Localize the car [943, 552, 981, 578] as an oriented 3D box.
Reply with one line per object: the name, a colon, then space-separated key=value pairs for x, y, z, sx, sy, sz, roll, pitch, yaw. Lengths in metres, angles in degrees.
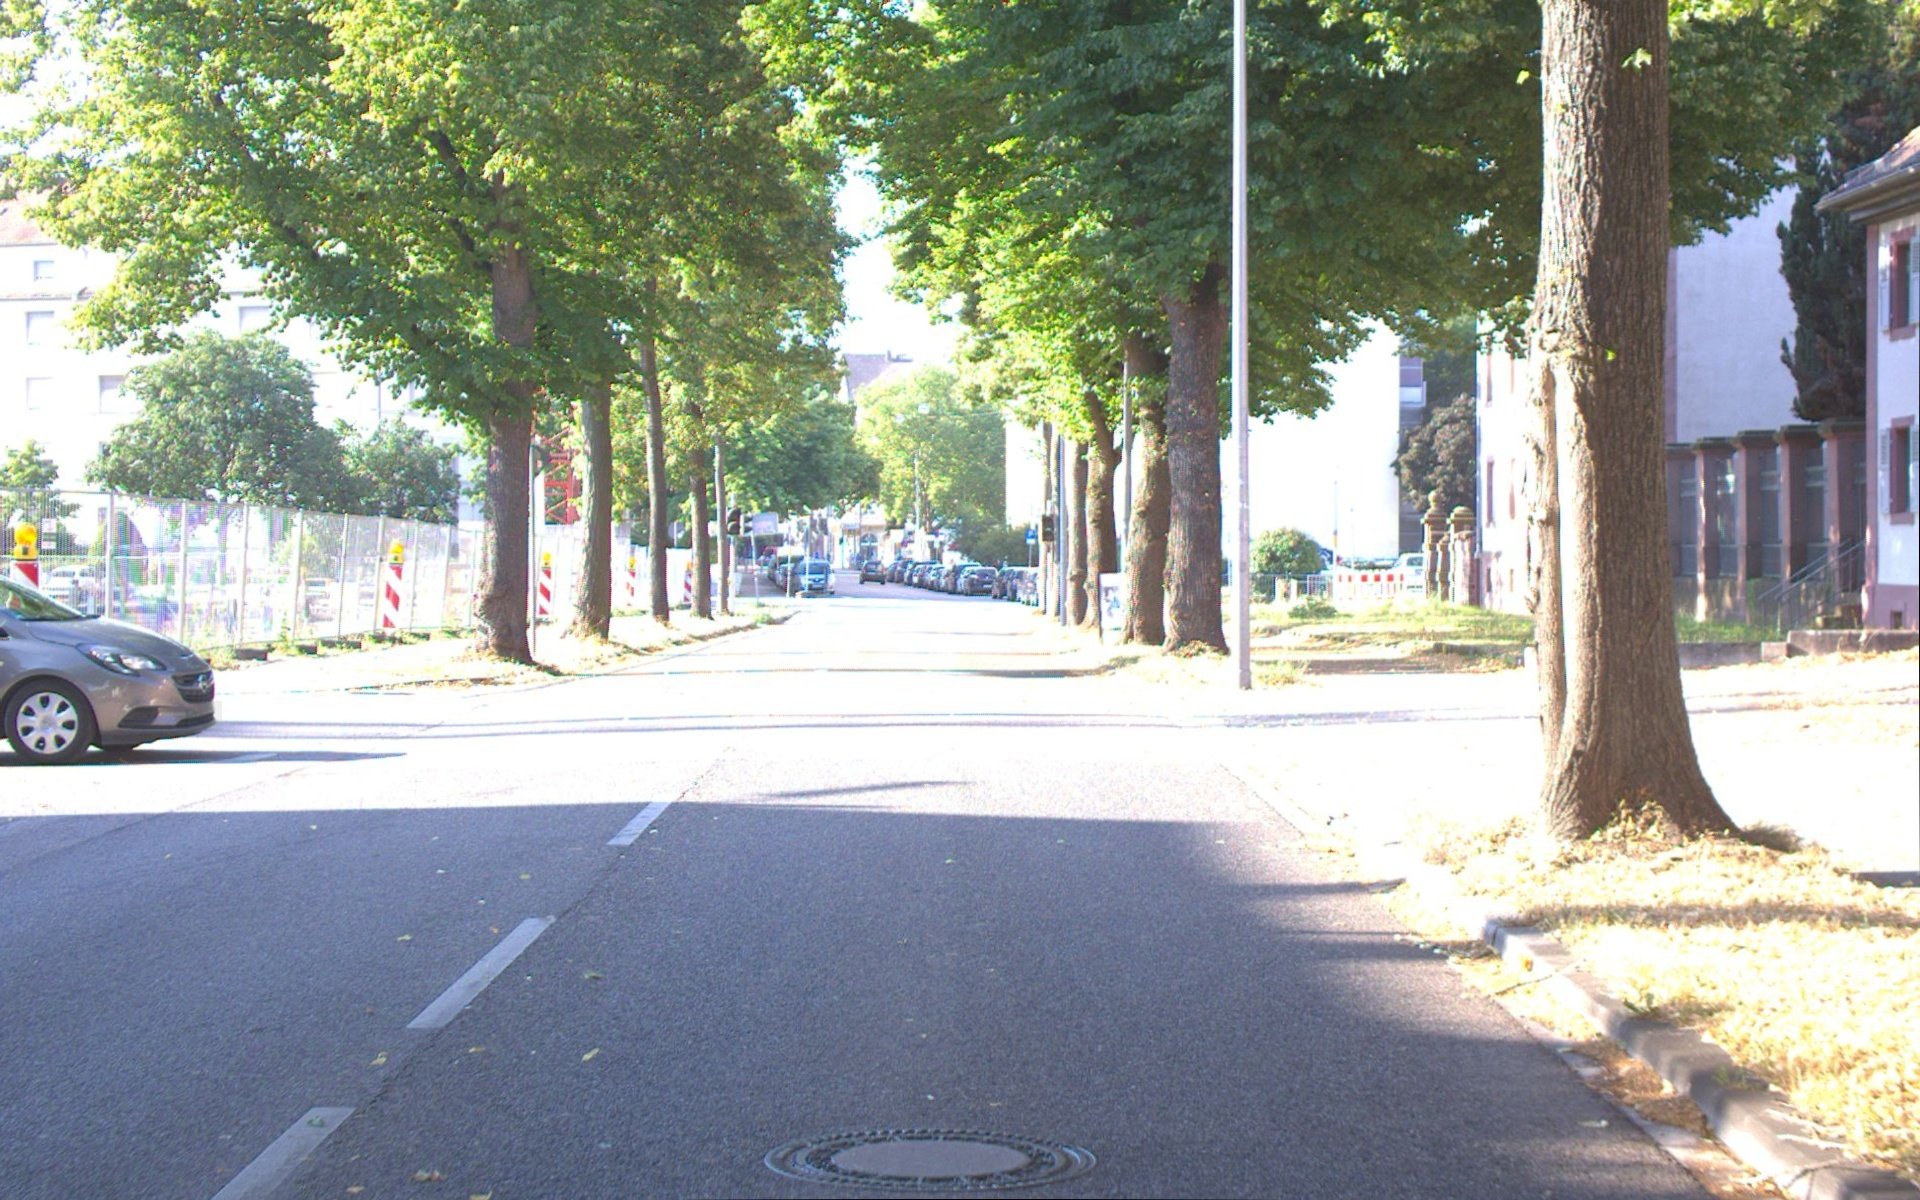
car: x=0.096 y=-1.926 z=189.041 sx=1.841 sy=1.381 sz=4.001 roll=-1 pitch=0 yaw=-3

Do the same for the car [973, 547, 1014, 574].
car: x=1.721 y=-2.044 z=177.853 sx=1.841 sy=1.381 sz=4.001 roll=0 pitch=1 yaw=-3

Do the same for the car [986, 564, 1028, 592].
car: x=2.150 y=-1.015 z=159.549 sx=1.841 sy=1.257 sz=4.000 roll=-1 pitch=0 yaw=0

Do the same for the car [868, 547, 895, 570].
car: x=-5.504 y=-2.898 z=239.969 sx=1.714 sy=1.481 sz=4.000 roll=-1 pitch=0 yaw=-4

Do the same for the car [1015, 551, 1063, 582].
car: x=3.257 y=-1.378 z=142.197 sx=1.841 sy=1.257 sz=4.000 roll=-1 pitch=0 yaw=0

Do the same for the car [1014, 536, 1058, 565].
car: x=3.360 y=-2.207 z=152.932 sx=1.841 sy=1.256 sz=4.000 roll=0 pitch=1 yaw=0

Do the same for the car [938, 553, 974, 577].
car: x=-0.246 y=-2.044 z=200.812 sx=1.841 sy=1.381 sz=4.001 roll=-1 pitch=1 yaw=-3

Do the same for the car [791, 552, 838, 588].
car: x=-6.999 y=-1.423 z=165.156 sx=1.993 sy=1.682 sz=4.001 roll=-1 pitch=0 yaw=-6

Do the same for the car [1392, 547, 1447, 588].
car: x=18.373 y=-1.289 z=137.470 sx=1.812 sy=1.554 sz=3.625 roll=1 pitch=-1 yaw=2

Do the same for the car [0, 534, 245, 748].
car: x=-7.200 y=0.263 z=24.475 sx=3.844 sy=1.468 sz=1.651 roll=0 pitch=1 yaw=2

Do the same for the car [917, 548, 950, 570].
car: x=-1.715 y=-2.636 z=221.449 sx=1.841 sy=1.381 sz=4.001 roll=-1 pitch=0 yaw=-3
